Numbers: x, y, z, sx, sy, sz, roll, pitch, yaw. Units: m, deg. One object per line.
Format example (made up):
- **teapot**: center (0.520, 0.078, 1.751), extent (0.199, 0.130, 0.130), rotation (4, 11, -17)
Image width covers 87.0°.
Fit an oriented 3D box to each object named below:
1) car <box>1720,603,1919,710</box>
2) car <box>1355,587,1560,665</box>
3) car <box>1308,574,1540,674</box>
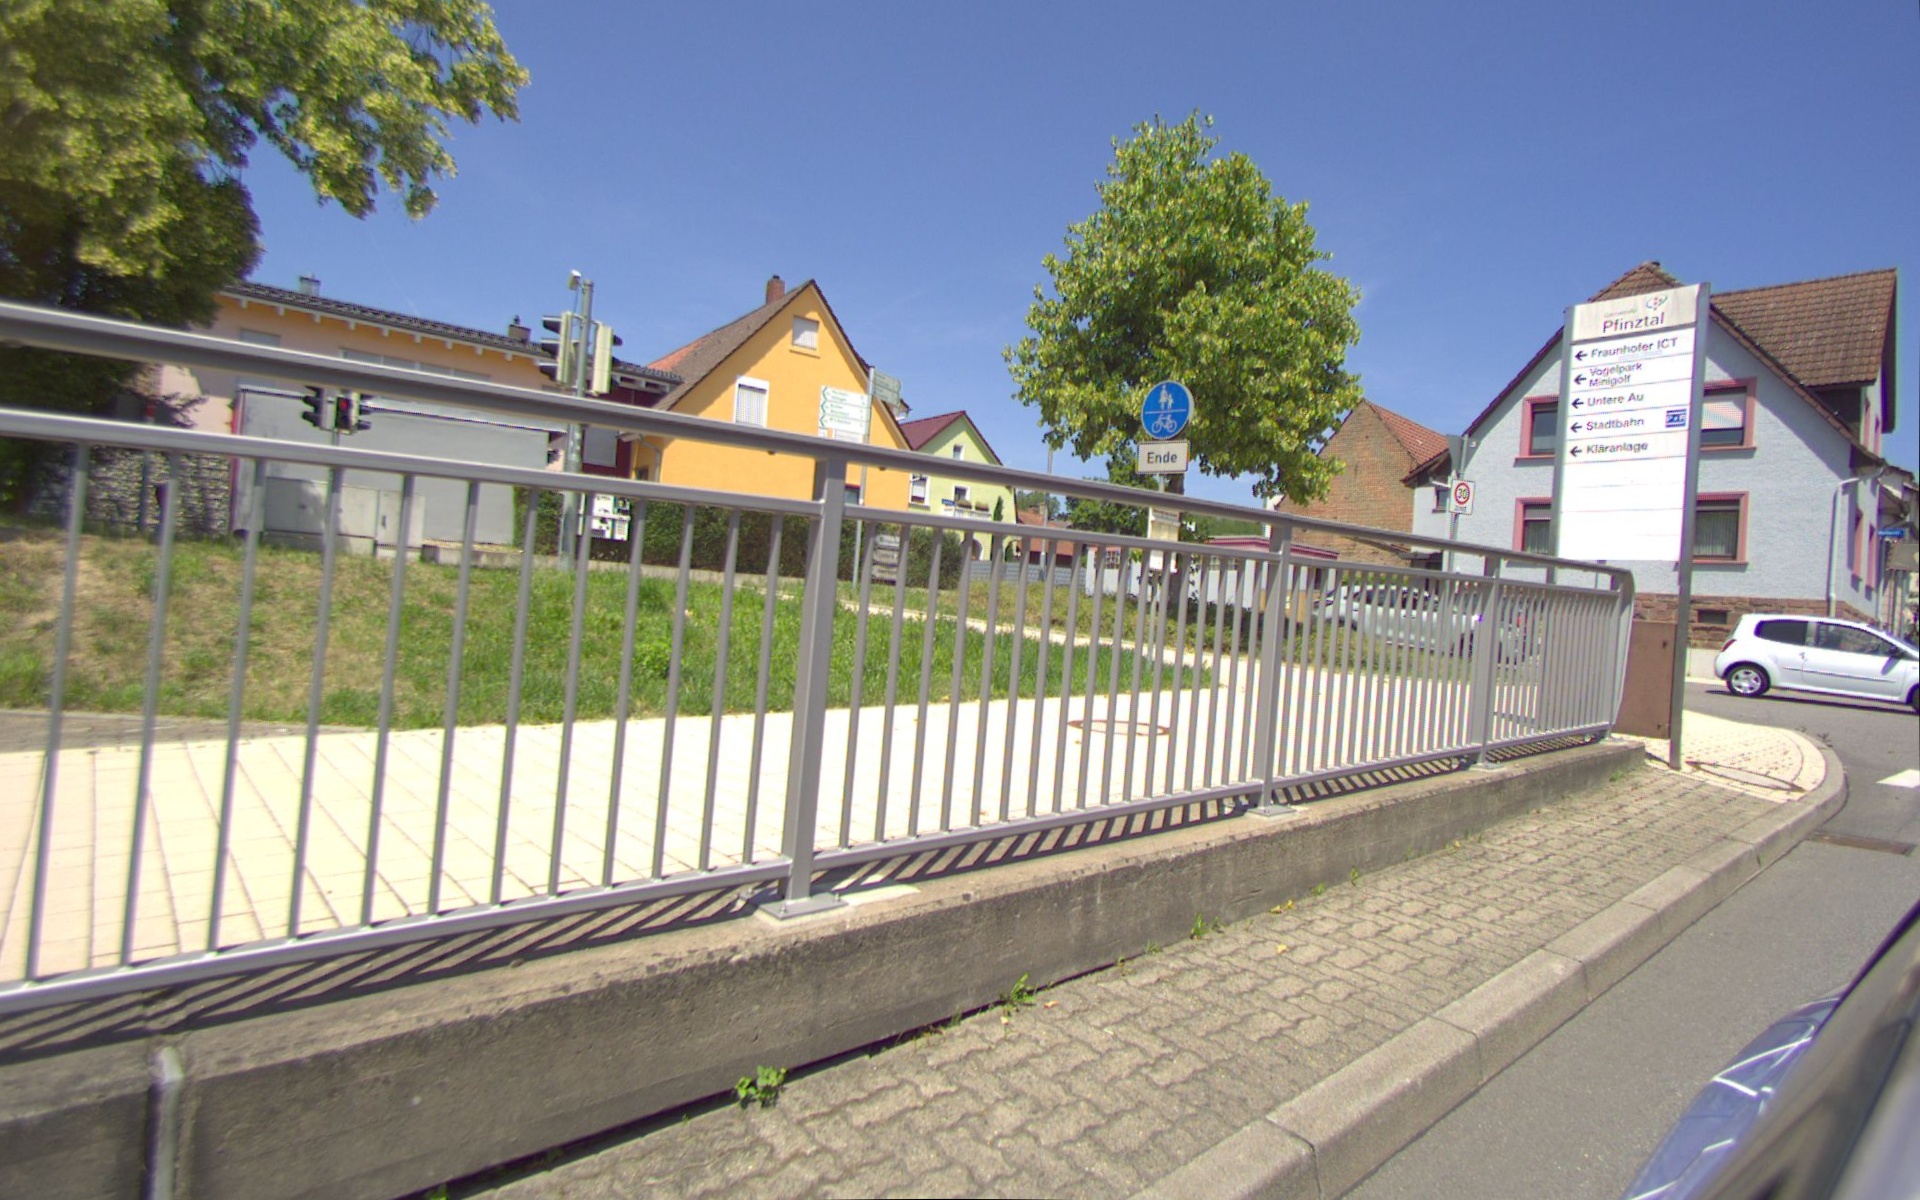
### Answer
- **car**: center (14.986, 0.929, 16.723), extent (3.670, 1.497, 1.748), rotation (5, 2, 43)
- **car**: center (12.029, 0.612, 24.596), extent (4.136, 1.609, 1.842), rotation (3, -2, 39)
- **car**: center (9.525, 0.437, 20.920), extent (4.091, 1.554, 1.758), rotation (6, 2, 29)
